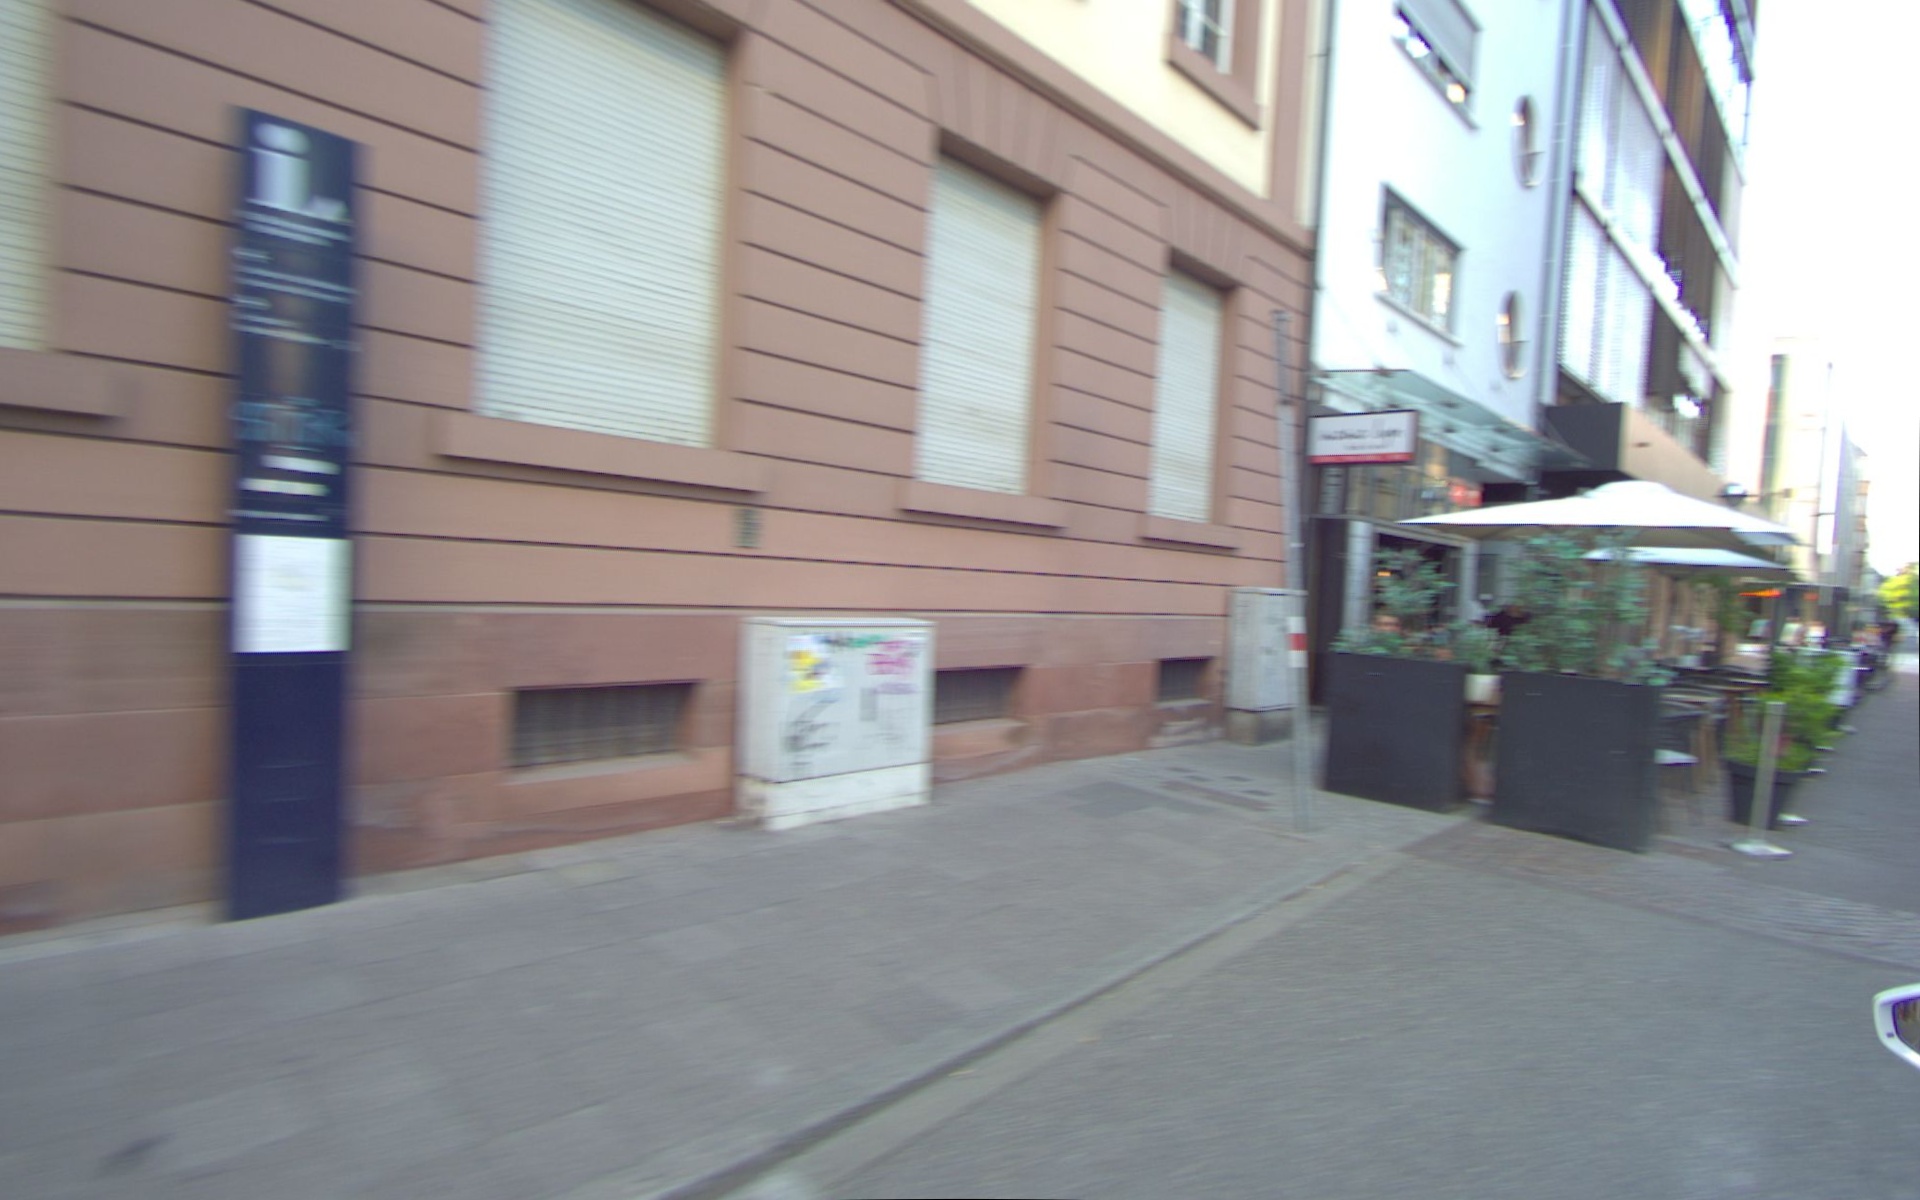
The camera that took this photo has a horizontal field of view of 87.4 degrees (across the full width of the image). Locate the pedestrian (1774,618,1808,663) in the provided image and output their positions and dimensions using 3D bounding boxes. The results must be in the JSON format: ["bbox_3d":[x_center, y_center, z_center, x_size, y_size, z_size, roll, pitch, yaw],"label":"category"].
[{"bbox_3d":[37.005,1.797,44.726,1.014,1.884,0.901,4,2,44],"label":"pedestrian"}]

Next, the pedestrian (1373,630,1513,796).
[{"bbox_3d":[3.938,0.880,8.193,0.781,1.199,0.670,6,3,43],"label":"pedestrian"}]

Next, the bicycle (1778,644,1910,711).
[{"bbox_3d":[18.045,1.562,20.546,1.927,1.089,0.464,7,4,44],"label":"bicycle"}]

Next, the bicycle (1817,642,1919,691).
[{"bbox_3d":[25.472,1.845,28.199,2.026,1.110,0.464,7,4,44],"label":"bicycle"}]

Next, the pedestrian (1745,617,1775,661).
[{"bbox_3d":[35.787,1.742,44.954,0.895,1.884,0.831,4,2,44],"label":"pedestrian"}]

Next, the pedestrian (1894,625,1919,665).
[{"bbox_3d":[43.134,2.046,45.553,0.924,1.757,0.856,2,1,-33],"label":"pedestrian"}]

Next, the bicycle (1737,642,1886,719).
[{"bbox_3d":[15.159,1.406,17.928,1.927,1.089,0.464,7,4,44],"label":"bicycle"}]

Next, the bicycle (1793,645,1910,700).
[{"bbox_3d":[21.683,1.741,24.472,2.026,1.030,0.464,7,4,44],"label":"bicycle"}]

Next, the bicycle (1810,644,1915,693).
[{"bbox_3d":[24.577,1.845,27.389,2.026,1.064,0.464,7,4,44],"label":"bicycle"}]

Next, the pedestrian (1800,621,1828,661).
[{"bbox_3d":[41.929,1.992,49.316,0.895,1.884,0.831,4,2,44],"label":"pedestrian"}]

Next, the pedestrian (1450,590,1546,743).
[{"bbox_3d":[6.271,0.744,11.707,0.780,1.671,0.722,4,2,39],"label":"pedestrian"}]

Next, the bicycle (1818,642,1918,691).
[{"bbox_3d":[25.925,1.874,28.706,2.026,1.110,0.464,7,4,44],"label":"bicycle"}]

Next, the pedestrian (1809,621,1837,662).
[{"bbox_3d":[41.650,1.984,48.494,0.895,1.884,0.831,4,2,44],"label":"pedestrian"}]

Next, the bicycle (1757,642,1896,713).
[{"bbox_3d":[16.713,1.475,19.408,1.927,1.089,0.464,7,4,44],"label":"bicycle"}]

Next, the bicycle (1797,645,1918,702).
[{"bbox_3d":[20.963,1.693,23.505,2.026,1.030,0.464,7,4,44],"label":"bicycle"}]

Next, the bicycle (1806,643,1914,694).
[{"bbox_3d":[23.659,1.788,26.441,2.026,1.064,0.464,7,4,44],"label":"bicycle"}]

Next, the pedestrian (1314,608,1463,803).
[{"bbox_3d":[3.299,0.773,7.736,0.781,1.349,0.670,6,3,43],"label":"pedestrian"}]

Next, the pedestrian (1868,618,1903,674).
[{"bbox_3d":[32.911,1.626,35.719,0.824,1.884,0.902,4,2,43],"label":"pedestrian"}]

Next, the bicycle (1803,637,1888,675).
[{"bbox_3d":[29.657,1.854,33.670,2.026,1.027,0.464,7,4,44],"label":"bicycle"}]

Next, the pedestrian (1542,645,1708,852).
[{"bbox_3d":[4.461,0.947,6.740,0.780,1.199,0.671,6,3,39],"label":"pedestrian"}]

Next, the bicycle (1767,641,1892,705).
[{"bbox_3d":[18.643,1.540,21.576,1.927,1.089,0.464,7,4,44],"label":"bicycle"}]

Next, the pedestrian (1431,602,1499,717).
[{"bbox_3d":[7.860,0.902,15.647,0.843,1.681,0.799,3,1,28],"label":"pedestrian"}]

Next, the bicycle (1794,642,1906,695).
[{"bbox_3d":[22.671,1.733,25.624,2.026,1.064,0.464,7,4,44],"label":"bicycle"}]
